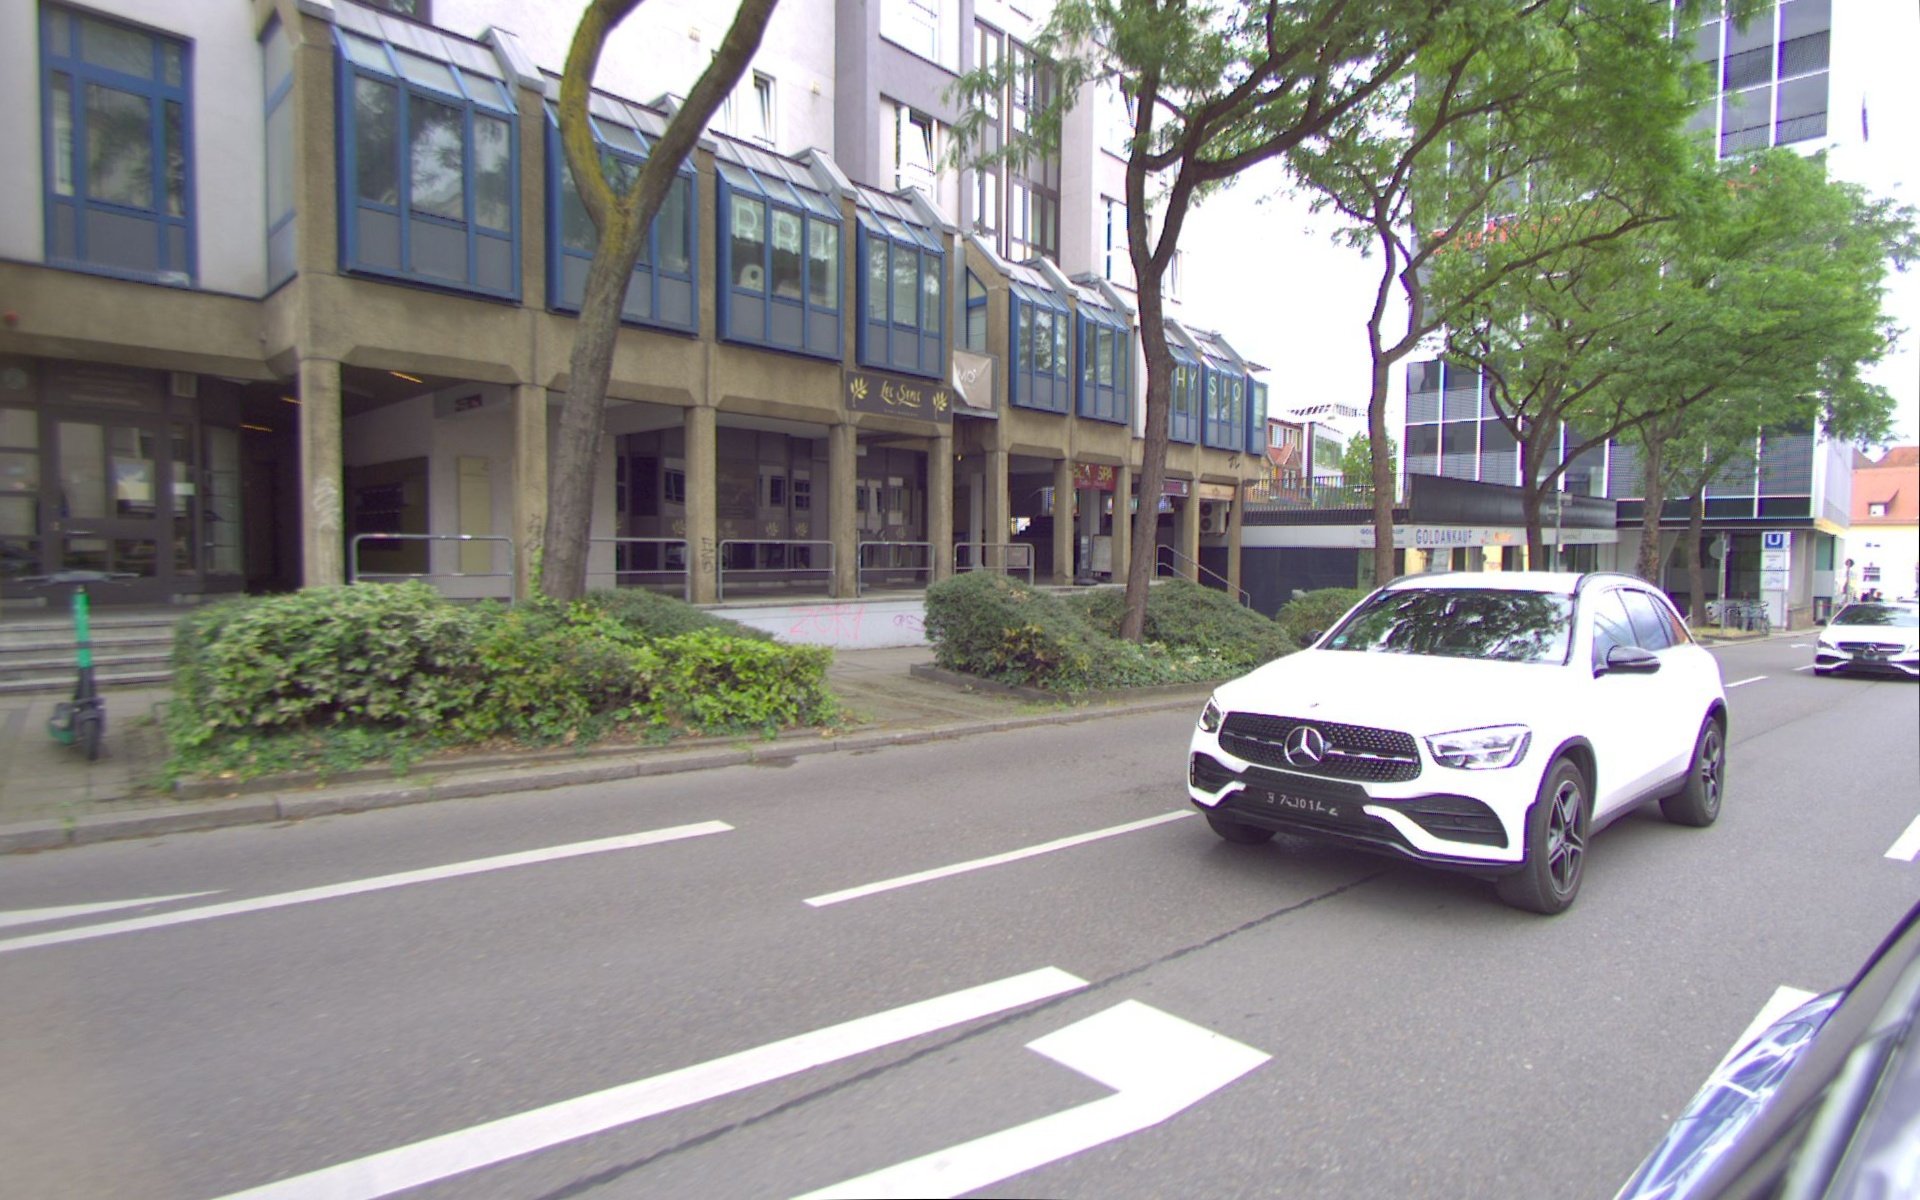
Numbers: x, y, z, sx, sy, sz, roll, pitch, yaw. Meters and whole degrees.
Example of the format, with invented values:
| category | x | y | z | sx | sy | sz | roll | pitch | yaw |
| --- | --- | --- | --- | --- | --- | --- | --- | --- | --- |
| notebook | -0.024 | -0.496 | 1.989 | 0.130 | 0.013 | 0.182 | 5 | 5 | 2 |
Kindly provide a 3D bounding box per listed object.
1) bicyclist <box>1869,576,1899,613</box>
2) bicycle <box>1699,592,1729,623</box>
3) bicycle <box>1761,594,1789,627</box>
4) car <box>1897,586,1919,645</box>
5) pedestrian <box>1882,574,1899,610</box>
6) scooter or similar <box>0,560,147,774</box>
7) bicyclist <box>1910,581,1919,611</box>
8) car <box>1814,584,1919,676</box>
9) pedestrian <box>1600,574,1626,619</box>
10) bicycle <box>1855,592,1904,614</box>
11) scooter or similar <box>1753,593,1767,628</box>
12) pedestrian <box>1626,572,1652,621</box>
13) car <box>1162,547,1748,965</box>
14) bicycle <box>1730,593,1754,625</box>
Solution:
| category | x | y | z | sx | sy | sz | roll | pitch | yaw |
| --- | --- | --- | --- | --- | --- | --- | --- | --- | --- |
| bicyclist | 49.039 | -0.301 | 53.710 | 0.661 | 1.868 | 0.816 | 1 | 3 | -14 |
| bicycle | 28.372 | 0.267 | 38.075 | 1.659 | 1.146 | 0.490 | 0 | 2 | -41 |
| bicycle | 29.386 | 0.356 | 36.481 | 1.812 | 1.146 | 0.490 | 0 | 2 | -42 |
| car | 27.205 | 0.429 | 27.825 | 3.698 | 1.551 | 1.706 | 0 | 3 | -41 |
| pedestrian | 46.579 | -0.390 | 50.661 | 0.525 | 1.732 | 0.741 | 5 | 5 | 43 |
| scooter or similar | -6.067 | 0.399 | 6.955 | 0.712 | 1.284 | 1.198 | 0 | 3 | -41 |
| bicyclist | 51.203 | -0.211 | 53.849 | 0.558 | 1.568 | 0.841 | 3 | 3 | 20 |
| car | 18.197 | 0.508 | 19.615 | 4.572 | 1.589 | 1.868 | -1 | 2 | -42 |
| pedestrian | 24.480 | -0.144 | 37.932 | 0.596 | 1.648 | 0.745 | 4 | 3 | 43 |
| bicycle | 48.964 | 0.140 | 53.907 | 0.666 | 1.019 | 1.772 | 3 | 3 | -16 |
| scooter or similar | 29.357 | 0.371 | 37.157 | 0.305 | 1.267 | 0.984 | 2 | 2 | 36 |
| pedestrian | 25.100 | -0.142 | 37.399 | 0.596 | 1.775 | 0.926 | 4 | 3 | 43 |
| car | 3.236 | 0.554 | 6.158 | 4.262 | 1.666 | 1.804 | -1 | 3 | -43 |
| bicycle | 28.818 | 0.314 | 37.281 | 0.489 | 1.146 | 1.858 | 3 | 2 | 43 |
